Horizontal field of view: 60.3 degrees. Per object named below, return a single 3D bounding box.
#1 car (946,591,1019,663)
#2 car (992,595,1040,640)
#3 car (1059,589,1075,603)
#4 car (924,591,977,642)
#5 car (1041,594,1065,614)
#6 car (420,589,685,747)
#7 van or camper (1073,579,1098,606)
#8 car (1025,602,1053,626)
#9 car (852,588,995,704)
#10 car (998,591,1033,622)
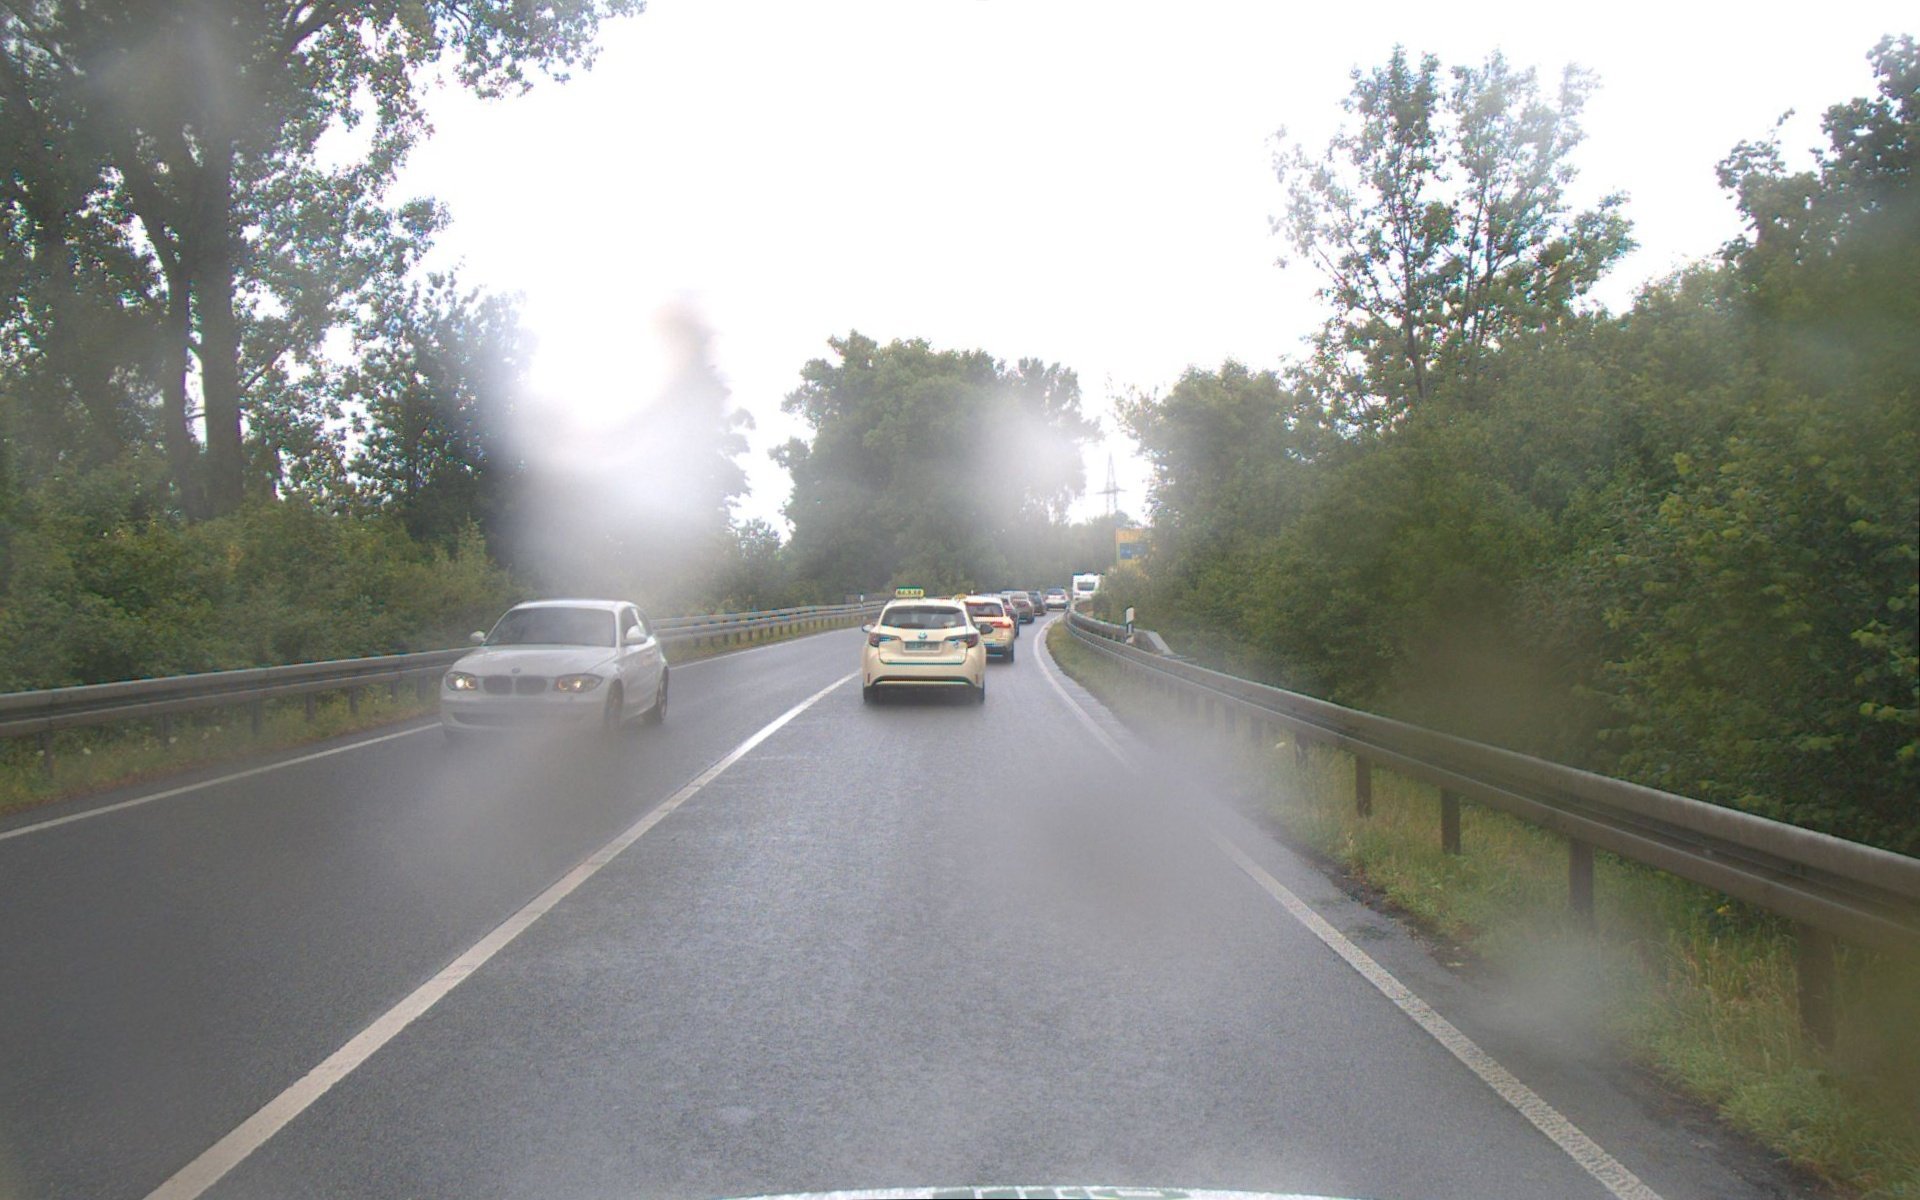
[{"bbox_3d":[0.573,0.613,39.004,1.545,1.600,3.683,1,0,3],"label":"car"},{"bbox_3d":[1.938,0.585,57.850,1.631,1.489,3.477,1,0,1],"label":"car"},{"bbox_3d":[11.371,-0.419,176.263,1.394,1.379,3.229,1,0,9],"label":"car"},{"bbox_3d":[-0.252,0.480,49.870,1.474,1.462,3.356,1,0,1],"label":"car"},{"bbox_3d":[6.461,0.276,114.493,1.451,1.332,3.479,1,0,6],"label":"car"},{"bbox_3d":[-4.216,0.644,17.772,1.777,1.479,4.048,1,0,1],"label":"car"},{"bbox_3d":[10.866,-0.610,143.088,1.951,2.293,4.003,1,0,7],"label":"van or camper"},{"bbox_3d":[4.699,0.815,97.764,1.451,1.332,3.479,1,0,6],"label":"car"},{"bbox_3d":[-0.451,0.622,24.542,1.866,1.564,4.162,1,0,2],"label":"car"},{"bbox_3d":[2.683,0.328,79.715,1.626,1.434,3.905,1,-1,2],"label":"car"}]
